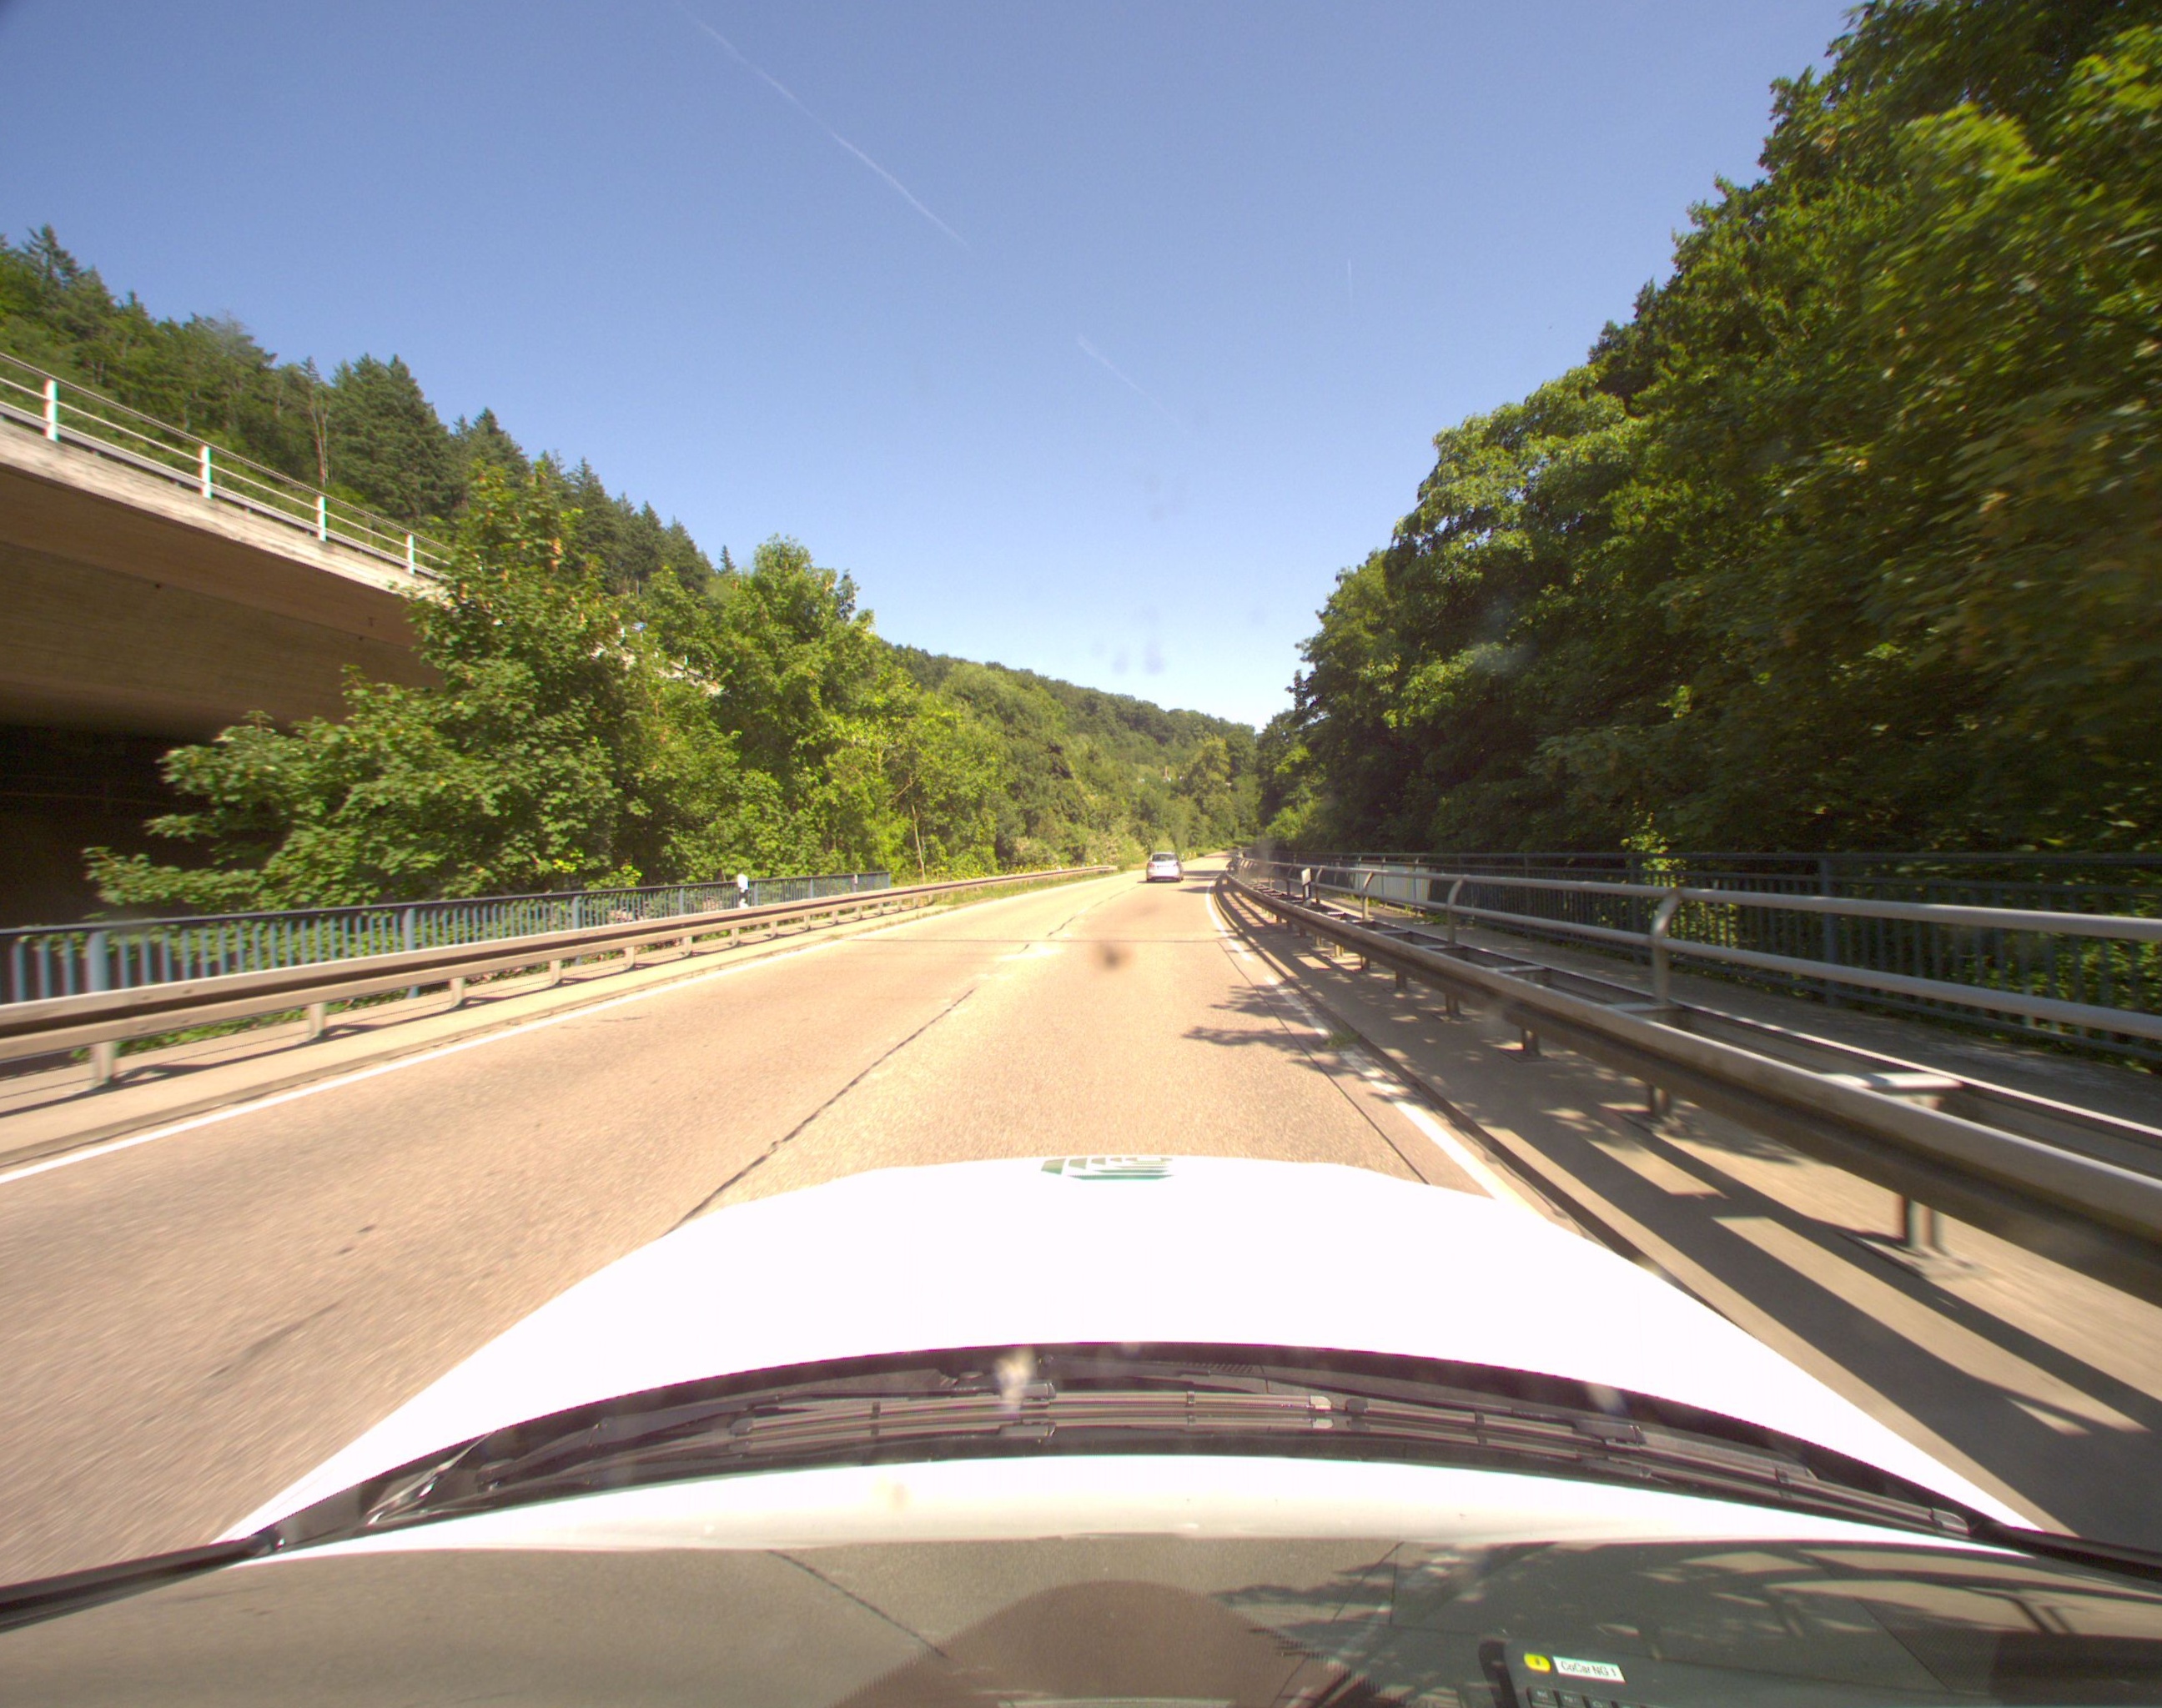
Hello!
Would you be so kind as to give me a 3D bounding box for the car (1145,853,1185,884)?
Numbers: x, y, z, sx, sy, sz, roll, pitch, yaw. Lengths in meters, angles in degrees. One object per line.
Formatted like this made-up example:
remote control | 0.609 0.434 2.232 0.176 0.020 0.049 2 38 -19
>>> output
car | 4.405 0.714 42.421 1.740 1.520 4.171 -1 0 10
